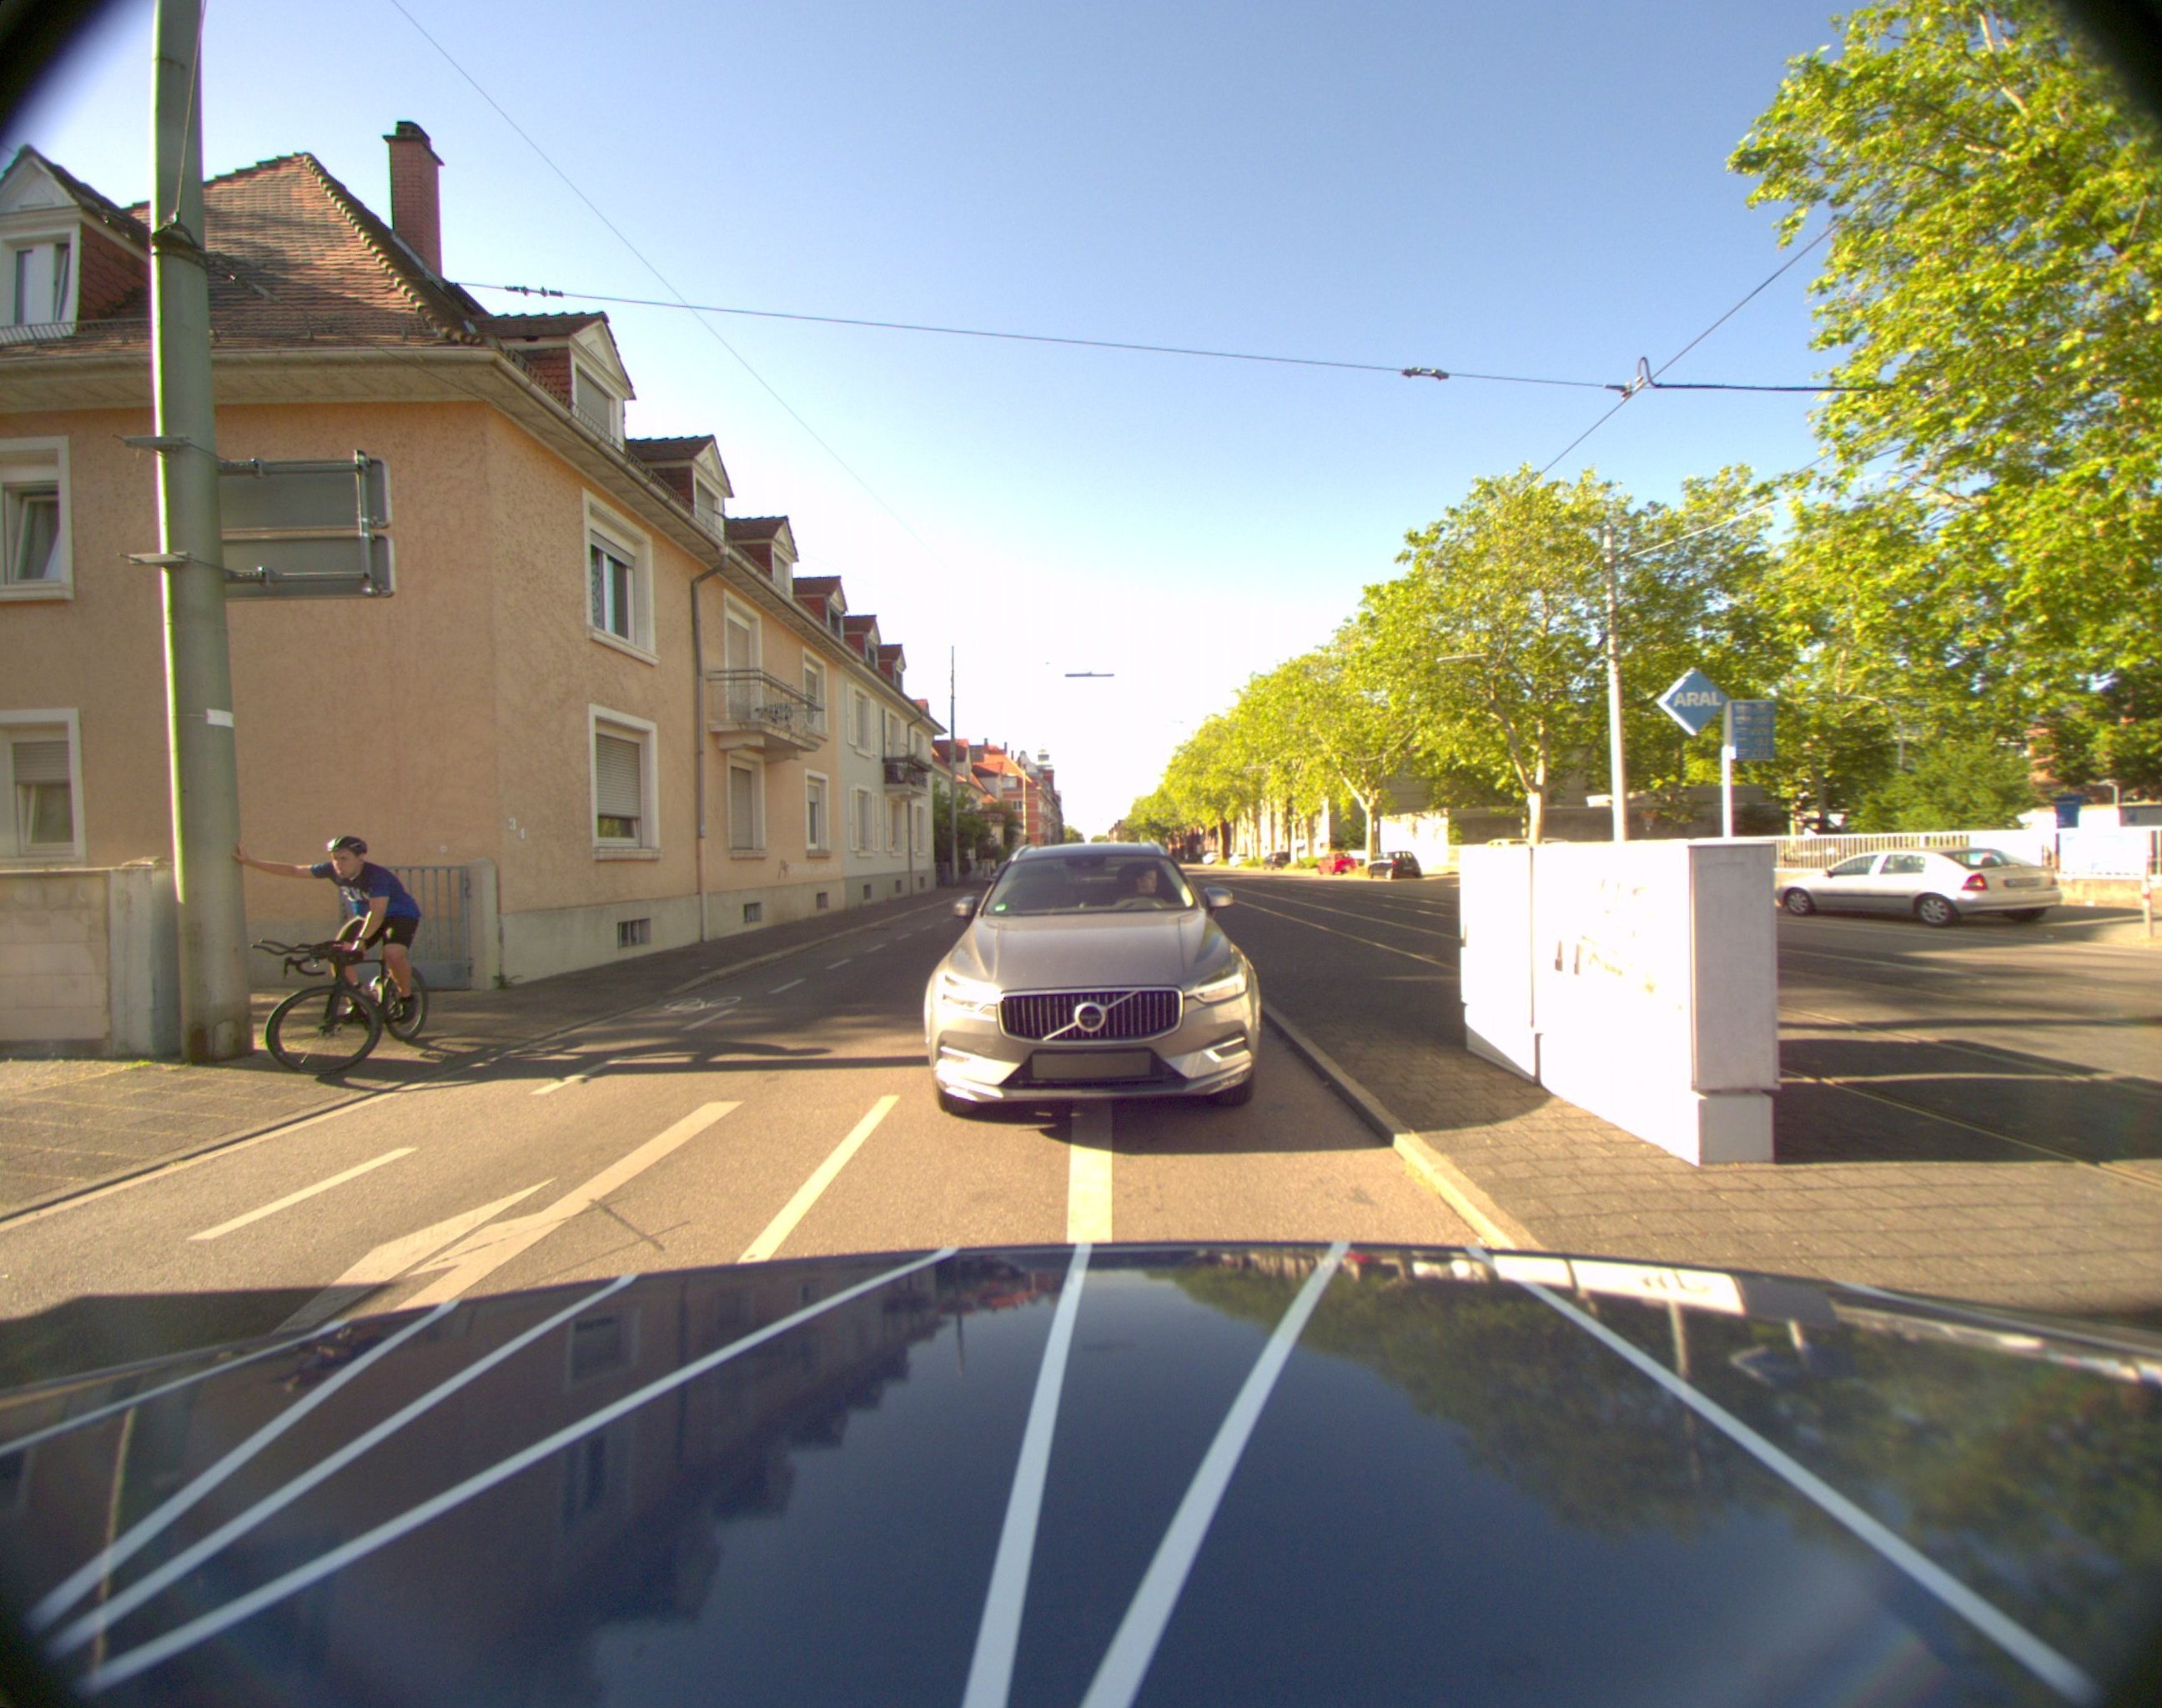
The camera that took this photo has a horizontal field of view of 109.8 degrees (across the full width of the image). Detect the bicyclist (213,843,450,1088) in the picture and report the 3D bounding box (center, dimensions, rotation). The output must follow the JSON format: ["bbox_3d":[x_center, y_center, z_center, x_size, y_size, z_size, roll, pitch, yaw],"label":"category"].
[{"bbox_3d":[-6.146,0.864,6.297,1.076,1.854,0.846,2,1,1],"label":"bicyclist"}]

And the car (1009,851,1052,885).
[{"bbox_3d":[-2.788,0.719,42.891,1.751,1.767,5.351,-1,0,3],"label":"car"}]

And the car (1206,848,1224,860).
[{"bbox_3d":[17.734,-0.006,100.678,1.802,1.504,4.000,-1,0,1],"label":"car"}]

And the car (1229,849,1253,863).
[{"bbox_3d":[17.546,0.225,83.433,1.802,1.489,4.000,-1,0,1],"label":"car"}]

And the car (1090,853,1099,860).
[{"bbox_3d":[3.064,0.603,174.587,1.998,1.543,4.000,-1,0,1],"label":"car"}]

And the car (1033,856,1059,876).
[{"bbox_3d":[-2.750,0.949,60.682,1.785,1.468,4.000,-1,0,1],"label":"car"}]

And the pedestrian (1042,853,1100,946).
[{"bbox_3d":[-0.199,0.815,14.231,0.696,1.652,1.096,-3,1,-21],"label":"pedestrian"}]

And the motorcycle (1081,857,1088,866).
[{"bbox_3d":[0.392,0.843,86.358,0.792,1.095,2.519,0,0,1],"label":"motorcycle"}]

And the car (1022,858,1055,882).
[{"bbox_3d":[-2.683,0.994,48.310,1.785,1.346,4.000,-1,0,1],"label":"car"}]

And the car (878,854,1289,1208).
[{"bbox_3d":[0.043,0.853,5.808,1.940,1.650,4.321,-1,0,1],"label":"car"}]

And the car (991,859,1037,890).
[{"bbox_3d":[-3.210,0.967,37.032,1.647,1.357,3.868,-1,0,4],"label":"car"}]

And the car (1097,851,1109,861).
[{"bbox_3d":[3.750,0.295,128.379,1.998,1.543,4.000,-1,0,1],"label":"car"}]

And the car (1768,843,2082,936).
[{"bbox_3d":[16.246,0.599,14.998,1.795,1.455,3.966,-4,0,2],"label":"car"}]

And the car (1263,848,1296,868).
[{"bbox_3d":[17.196,0.290,66.048,1.802,1.652,4.000,-1,0,1],"label":"car"}]

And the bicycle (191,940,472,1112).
[{"bbox_3d":[-5.942,1.304,6.182,0.572,0.986,1.698,2,0,1],"label":"bicycle"}]

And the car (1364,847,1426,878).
[{"bbox_3d":[16.883,0.425,40.987,1.826,1.521,3.653,-2,0,1],"label":"car"}]

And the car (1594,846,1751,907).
[{"bbox_3d":[16.432,0.578,21.346,1.692,1.455,3.519,-4,0,2],"label":"car"}]

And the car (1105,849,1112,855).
[{"bbox_3d":[8.472,-0.578,230.823,1.998,1.652,4.000,-1,0,1],"label":"car"}]

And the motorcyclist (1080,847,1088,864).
[{"bbox_3d":[0.360,0.182,86.336,0.827,1.832,1.159,-2,1,1],"label":"motorcyclist"}]

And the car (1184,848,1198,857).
[{"bbox_3d":[18.196,-0.215,125.635,1.802,1.504,4.000,-1,0,1],"label":"car"}]

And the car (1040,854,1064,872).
[{"bbox_3d":[-2.561,0.771,66.836,1.875,1.477,4.000,-1,0,1],"label":"car"}]

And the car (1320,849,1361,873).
[{"bbox_3d":[16.944,0.438,49.756,1.641,1.499,3.046,-1,0,1],"label":"car"}]

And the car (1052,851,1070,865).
[{"bbox_3d":[-2.203,0.454,85.498,1.875,1.477,4.000,-1,0,1],"label":"car"}]

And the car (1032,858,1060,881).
[{"bbox_3d":[-2.466,1.089,54.446,1.785,1.468,4.000,-1,0,1],"label":"car"}]
